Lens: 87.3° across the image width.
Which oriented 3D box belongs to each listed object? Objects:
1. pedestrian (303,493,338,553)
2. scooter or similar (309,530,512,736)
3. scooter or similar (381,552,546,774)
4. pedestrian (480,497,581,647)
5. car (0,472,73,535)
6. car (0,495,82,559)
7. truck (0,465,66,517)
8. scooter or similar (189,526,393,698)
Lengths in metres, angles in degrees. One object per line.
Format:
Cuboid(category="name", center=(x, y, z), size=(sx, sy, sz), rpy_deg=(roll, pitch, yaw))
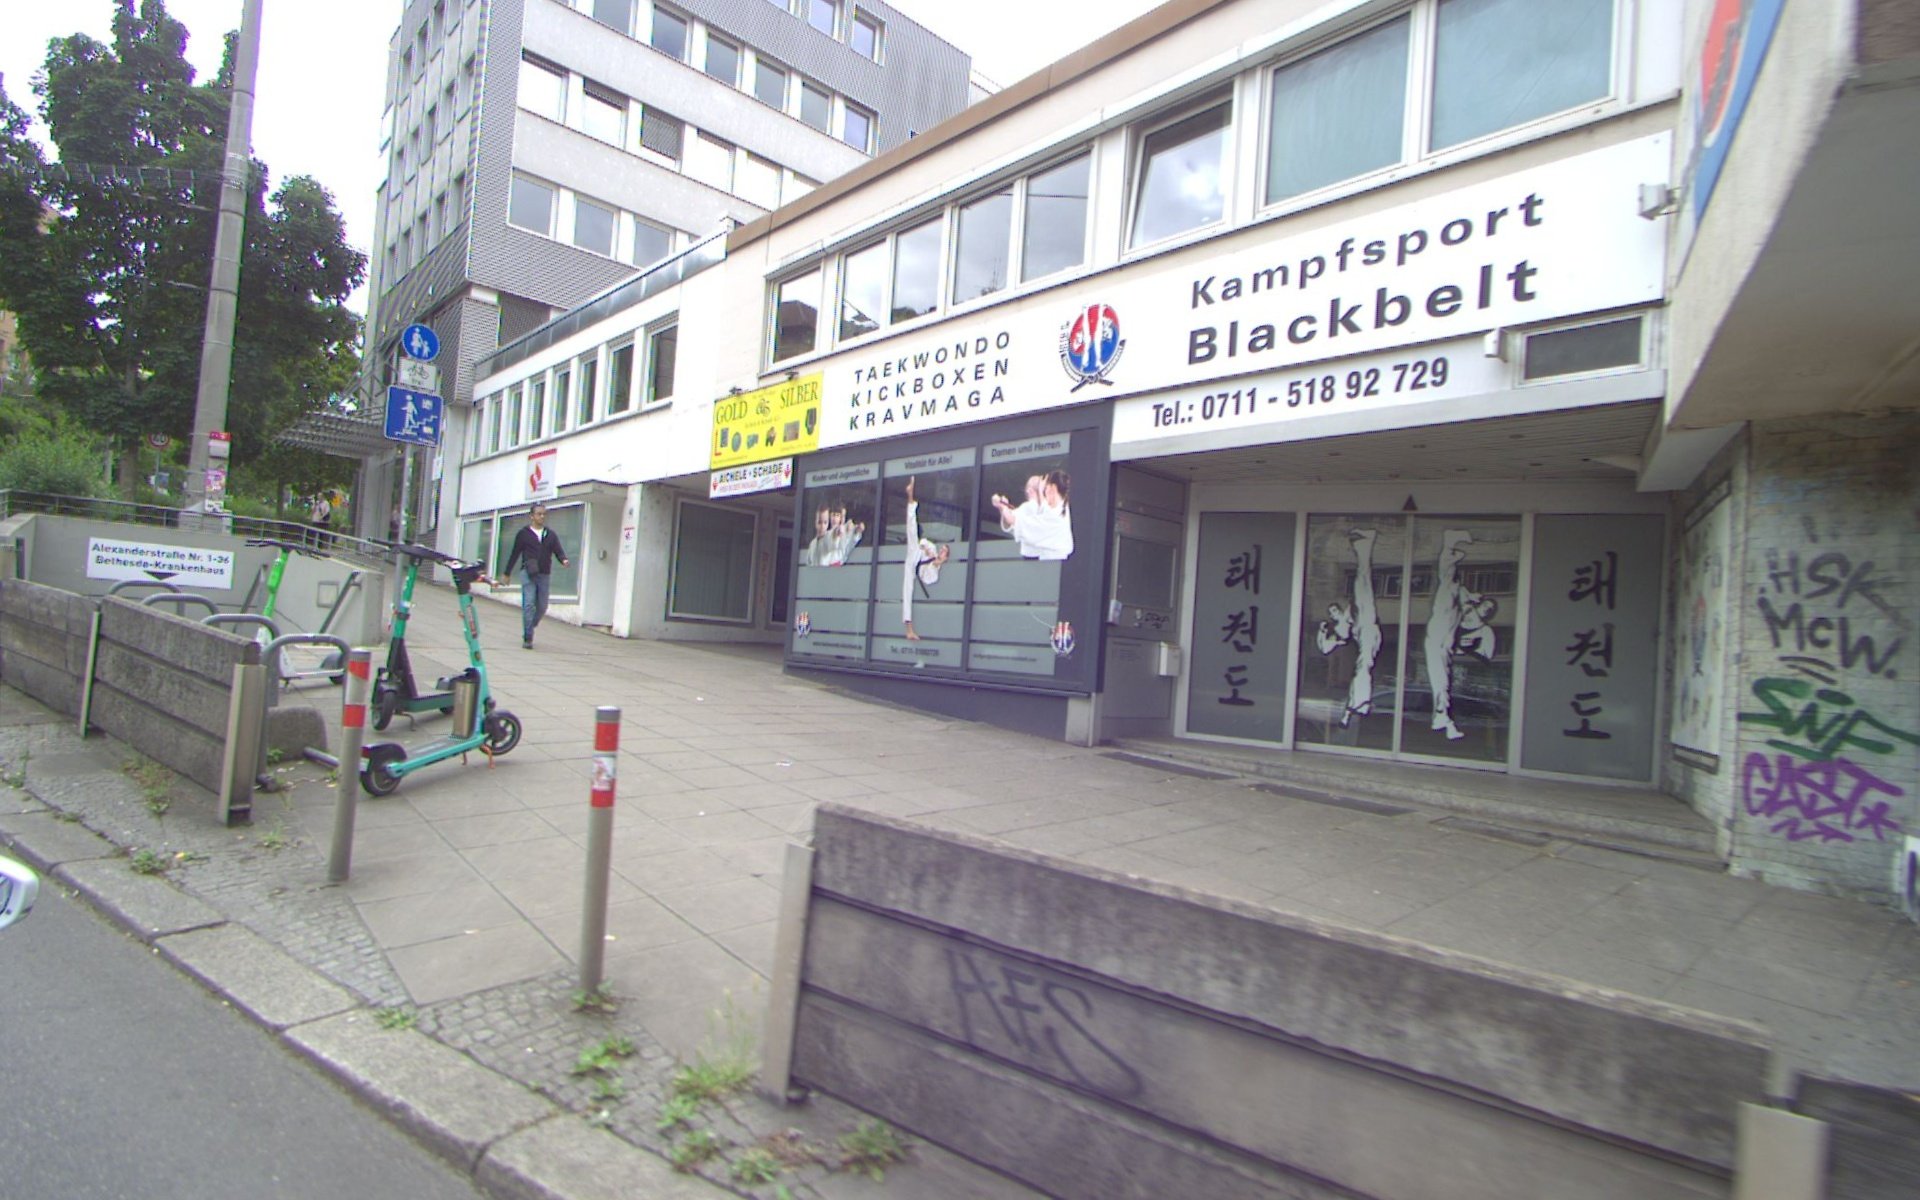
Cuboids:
Cuboid(category="pedestrian", center=(-20.394, -2.463, 32.085), size=(0.671, 1.816, 0.601), rpy_deg=(7, 1, -43))
Cuboid(category="scooter or similar", center=(-3.873, 0.207, 7.219), size=(0.547, 1.270, 1.445), rpy_deg=(7, 1, -1))
Cuboid(category="scooter or similar", center=(-2.972, 0.361, 6.102), size=(0.370, 1.196, 1.011), rpy_deg=(7, 0, -1))
Cuboid(category="pedestrian", center=(-5.699, -0.372, 13.327), size=(0.829, 1.833, 1.139), rpy_deg=(6, 1, -37))
Cuboid(category="car", center=(-31.222, -3.219, 33.241), size=(1.824, 1.760, 3.973), rpy_deg=(8, -2, -28))
Cuboid(category="car", center=(-28.297, -2.221, 30.284), size=(1.889, 1.591, 3.808), rpy_deg=(9, -3, -29))
Cuboid(category="truck", center=(-62.213, -7.321, 65.819), size=(2.897, 2.530, 7.121), rpy_deg=(16, -6, -22))
Cuboid(category="scooter or similar", center=(-5.308, 0.085, 8.091), size=(0.572, 1.197, 1.445), rpy_deg=(7, 1, -1))
